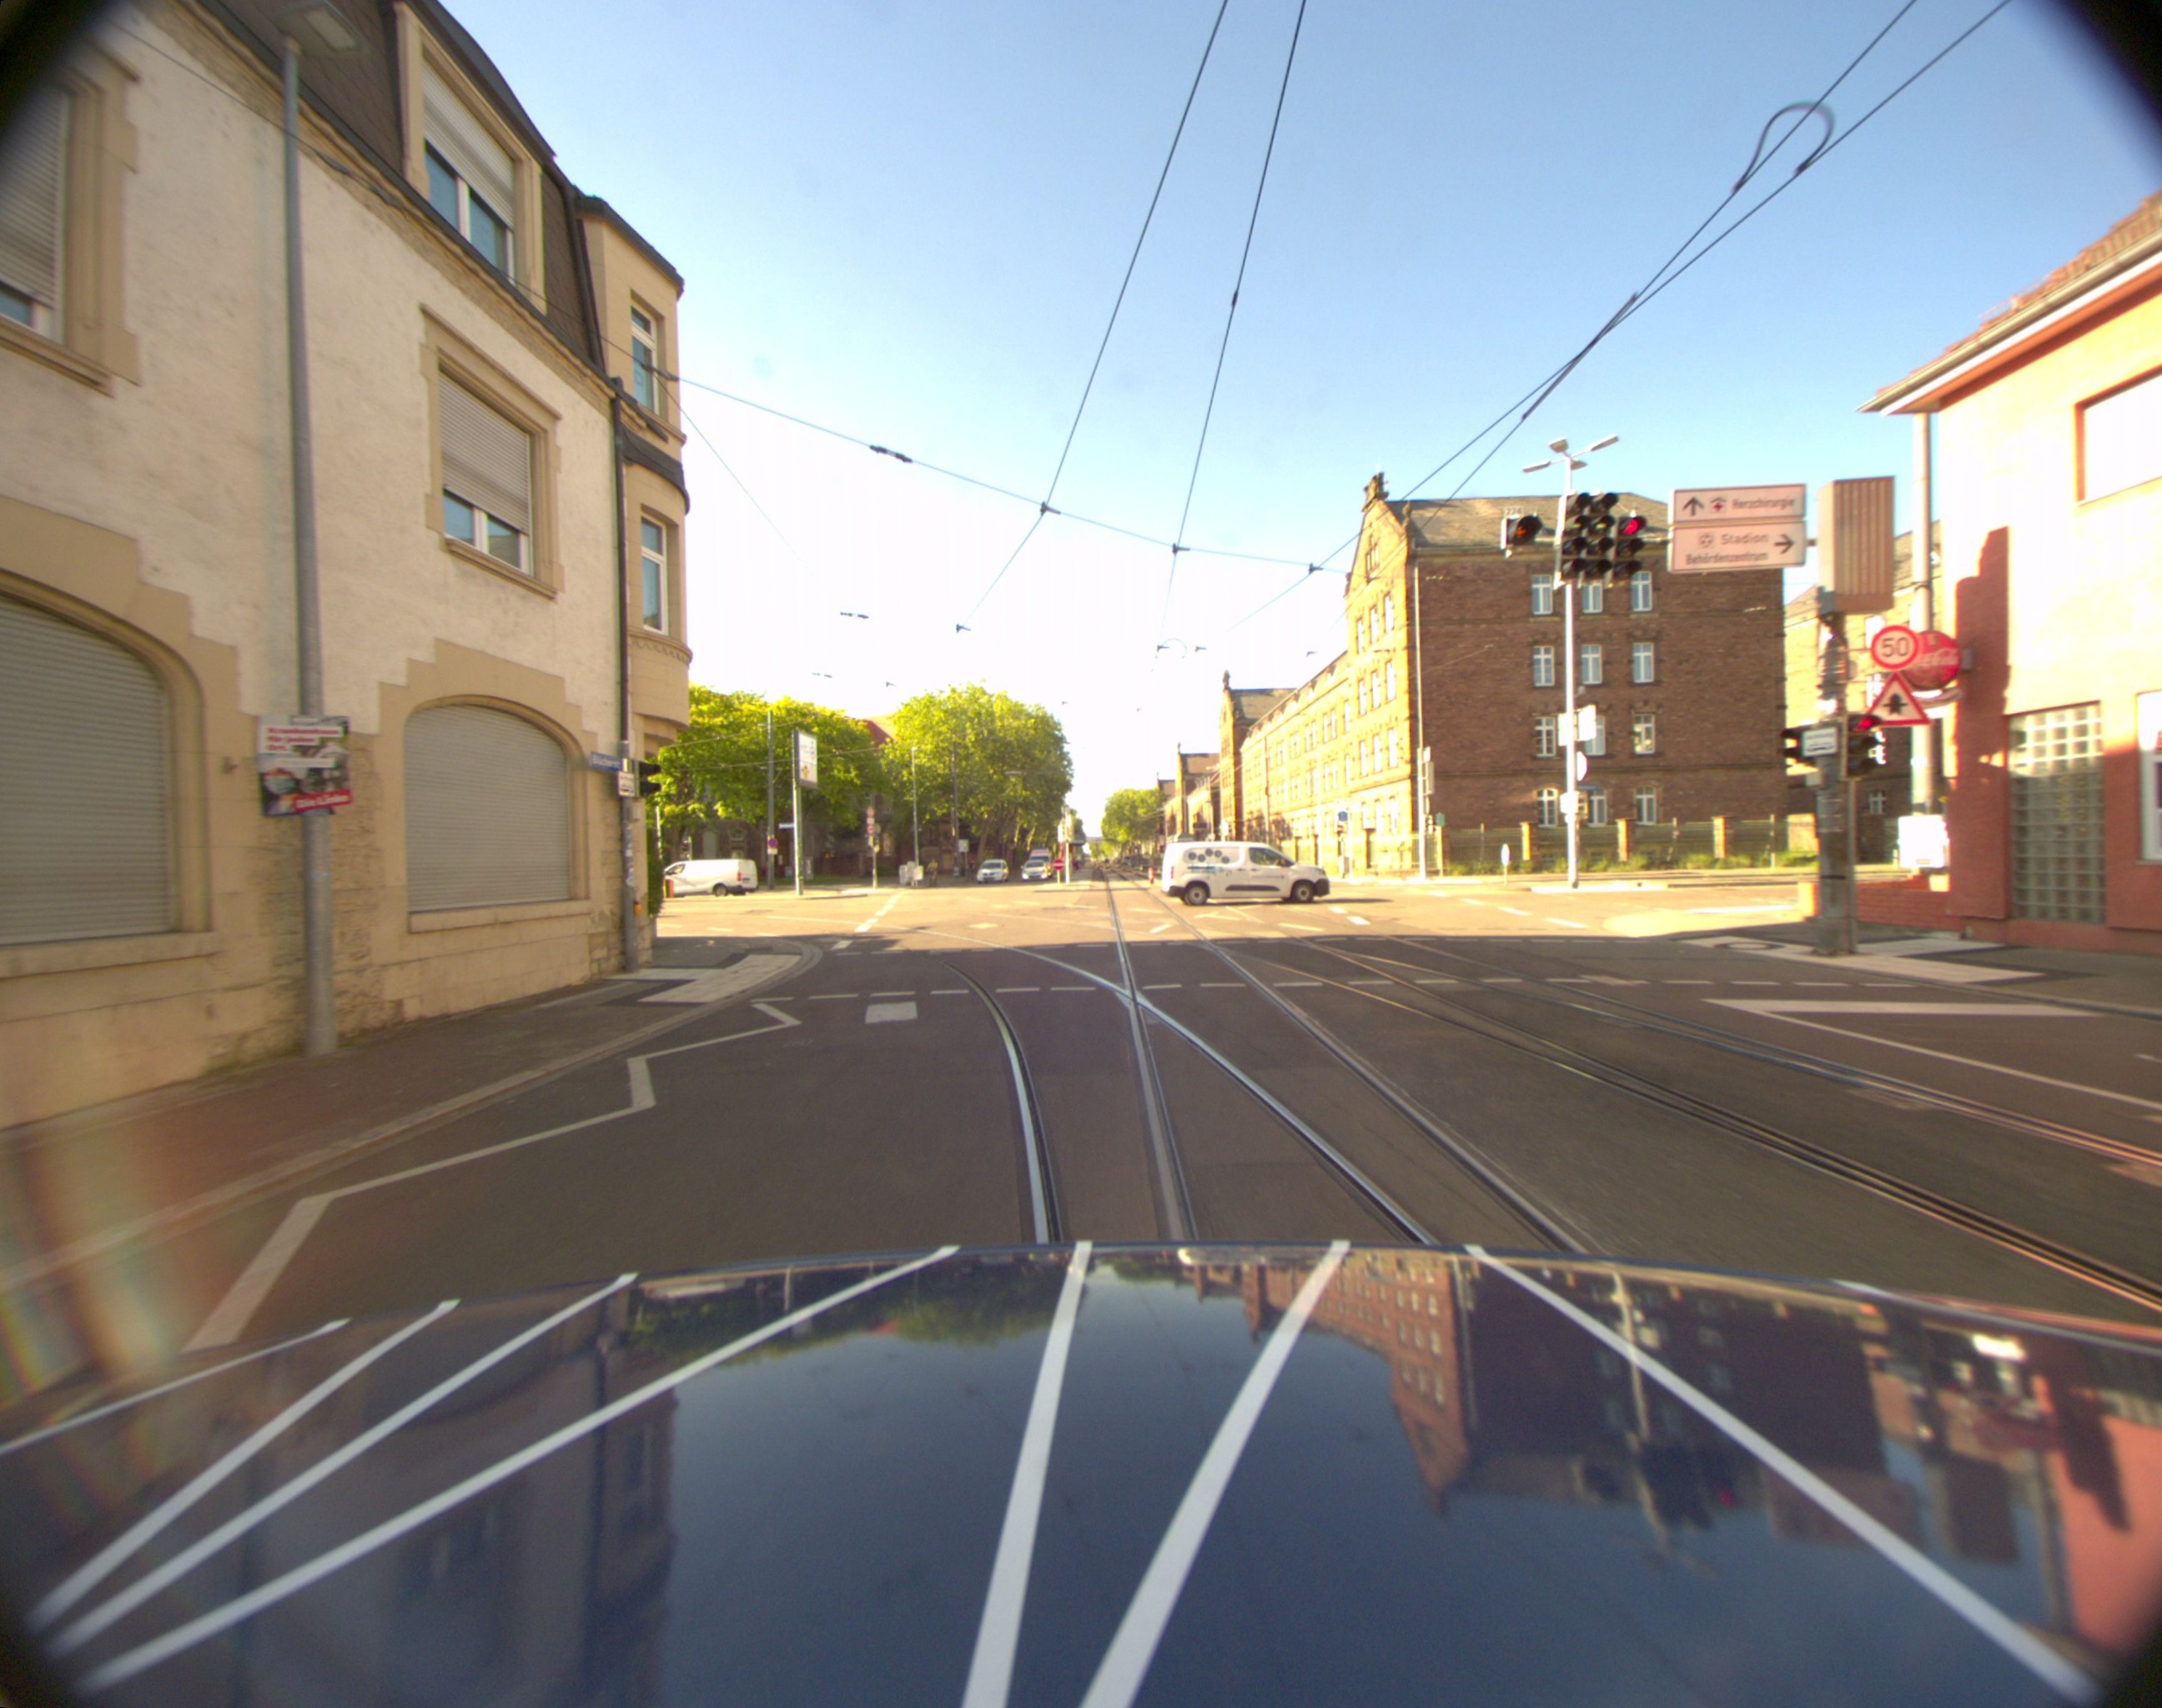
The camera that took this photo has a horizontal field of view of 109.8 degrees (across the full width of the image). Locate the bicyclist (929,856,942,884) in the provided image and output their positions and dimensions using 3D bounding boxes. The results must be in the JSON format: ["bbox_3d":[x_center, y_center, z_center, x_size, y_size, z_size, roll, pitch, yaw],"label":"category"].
[{"bbox_3d":[-9.041,0.996,47.111,0.670,1.718,0.623,-1,-2,1],"label":"bicyclist"}]

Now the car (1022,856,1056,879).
[{"bbox_3d":[-2.957,0.956,54.200,1.983,1.539,4.035,-2,-1,2],"label":"car"}]

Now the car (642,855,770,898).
[{"bbox_3d":[-18.644,1.109,37.918,5.296,1.917,2.166,-2,0,5],"label":"car"}]

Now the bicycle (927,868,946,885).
[{"bbox_3d":[-9.019,1.388,47.475,0.690,1.027,2.100,-1,-2,1],"label":"bicycle"}]

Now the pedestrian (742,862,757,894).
[{"bbox_3d":[-18.462,1.333,42.290,0.670,1.736,0.485,-2,1,-19],"label":"pedestrian"}]

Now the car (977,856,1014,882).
[{"bbox_3d":[-5.859,1.015,52.756,1.911,1.608,4.572,-3,-1,1],"label":"car"}]

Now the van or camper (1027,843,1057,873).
[{"bbox_3d":[-3.178,0.391,63.020,1.998,2.346,5.600,-2,-1,1],"label":"van or camper"}]

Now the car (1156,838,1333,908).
[{"bbox_3d":[4.630,0.505,21.940,4.694,1.789,1.857,-1,3,0],"label":"car"}]

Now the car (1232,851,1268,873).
[{"bbox_3d":[12.095,0.561,54.552,1.740,1.434,4.116,-2,0,2],"label":"car"}]
